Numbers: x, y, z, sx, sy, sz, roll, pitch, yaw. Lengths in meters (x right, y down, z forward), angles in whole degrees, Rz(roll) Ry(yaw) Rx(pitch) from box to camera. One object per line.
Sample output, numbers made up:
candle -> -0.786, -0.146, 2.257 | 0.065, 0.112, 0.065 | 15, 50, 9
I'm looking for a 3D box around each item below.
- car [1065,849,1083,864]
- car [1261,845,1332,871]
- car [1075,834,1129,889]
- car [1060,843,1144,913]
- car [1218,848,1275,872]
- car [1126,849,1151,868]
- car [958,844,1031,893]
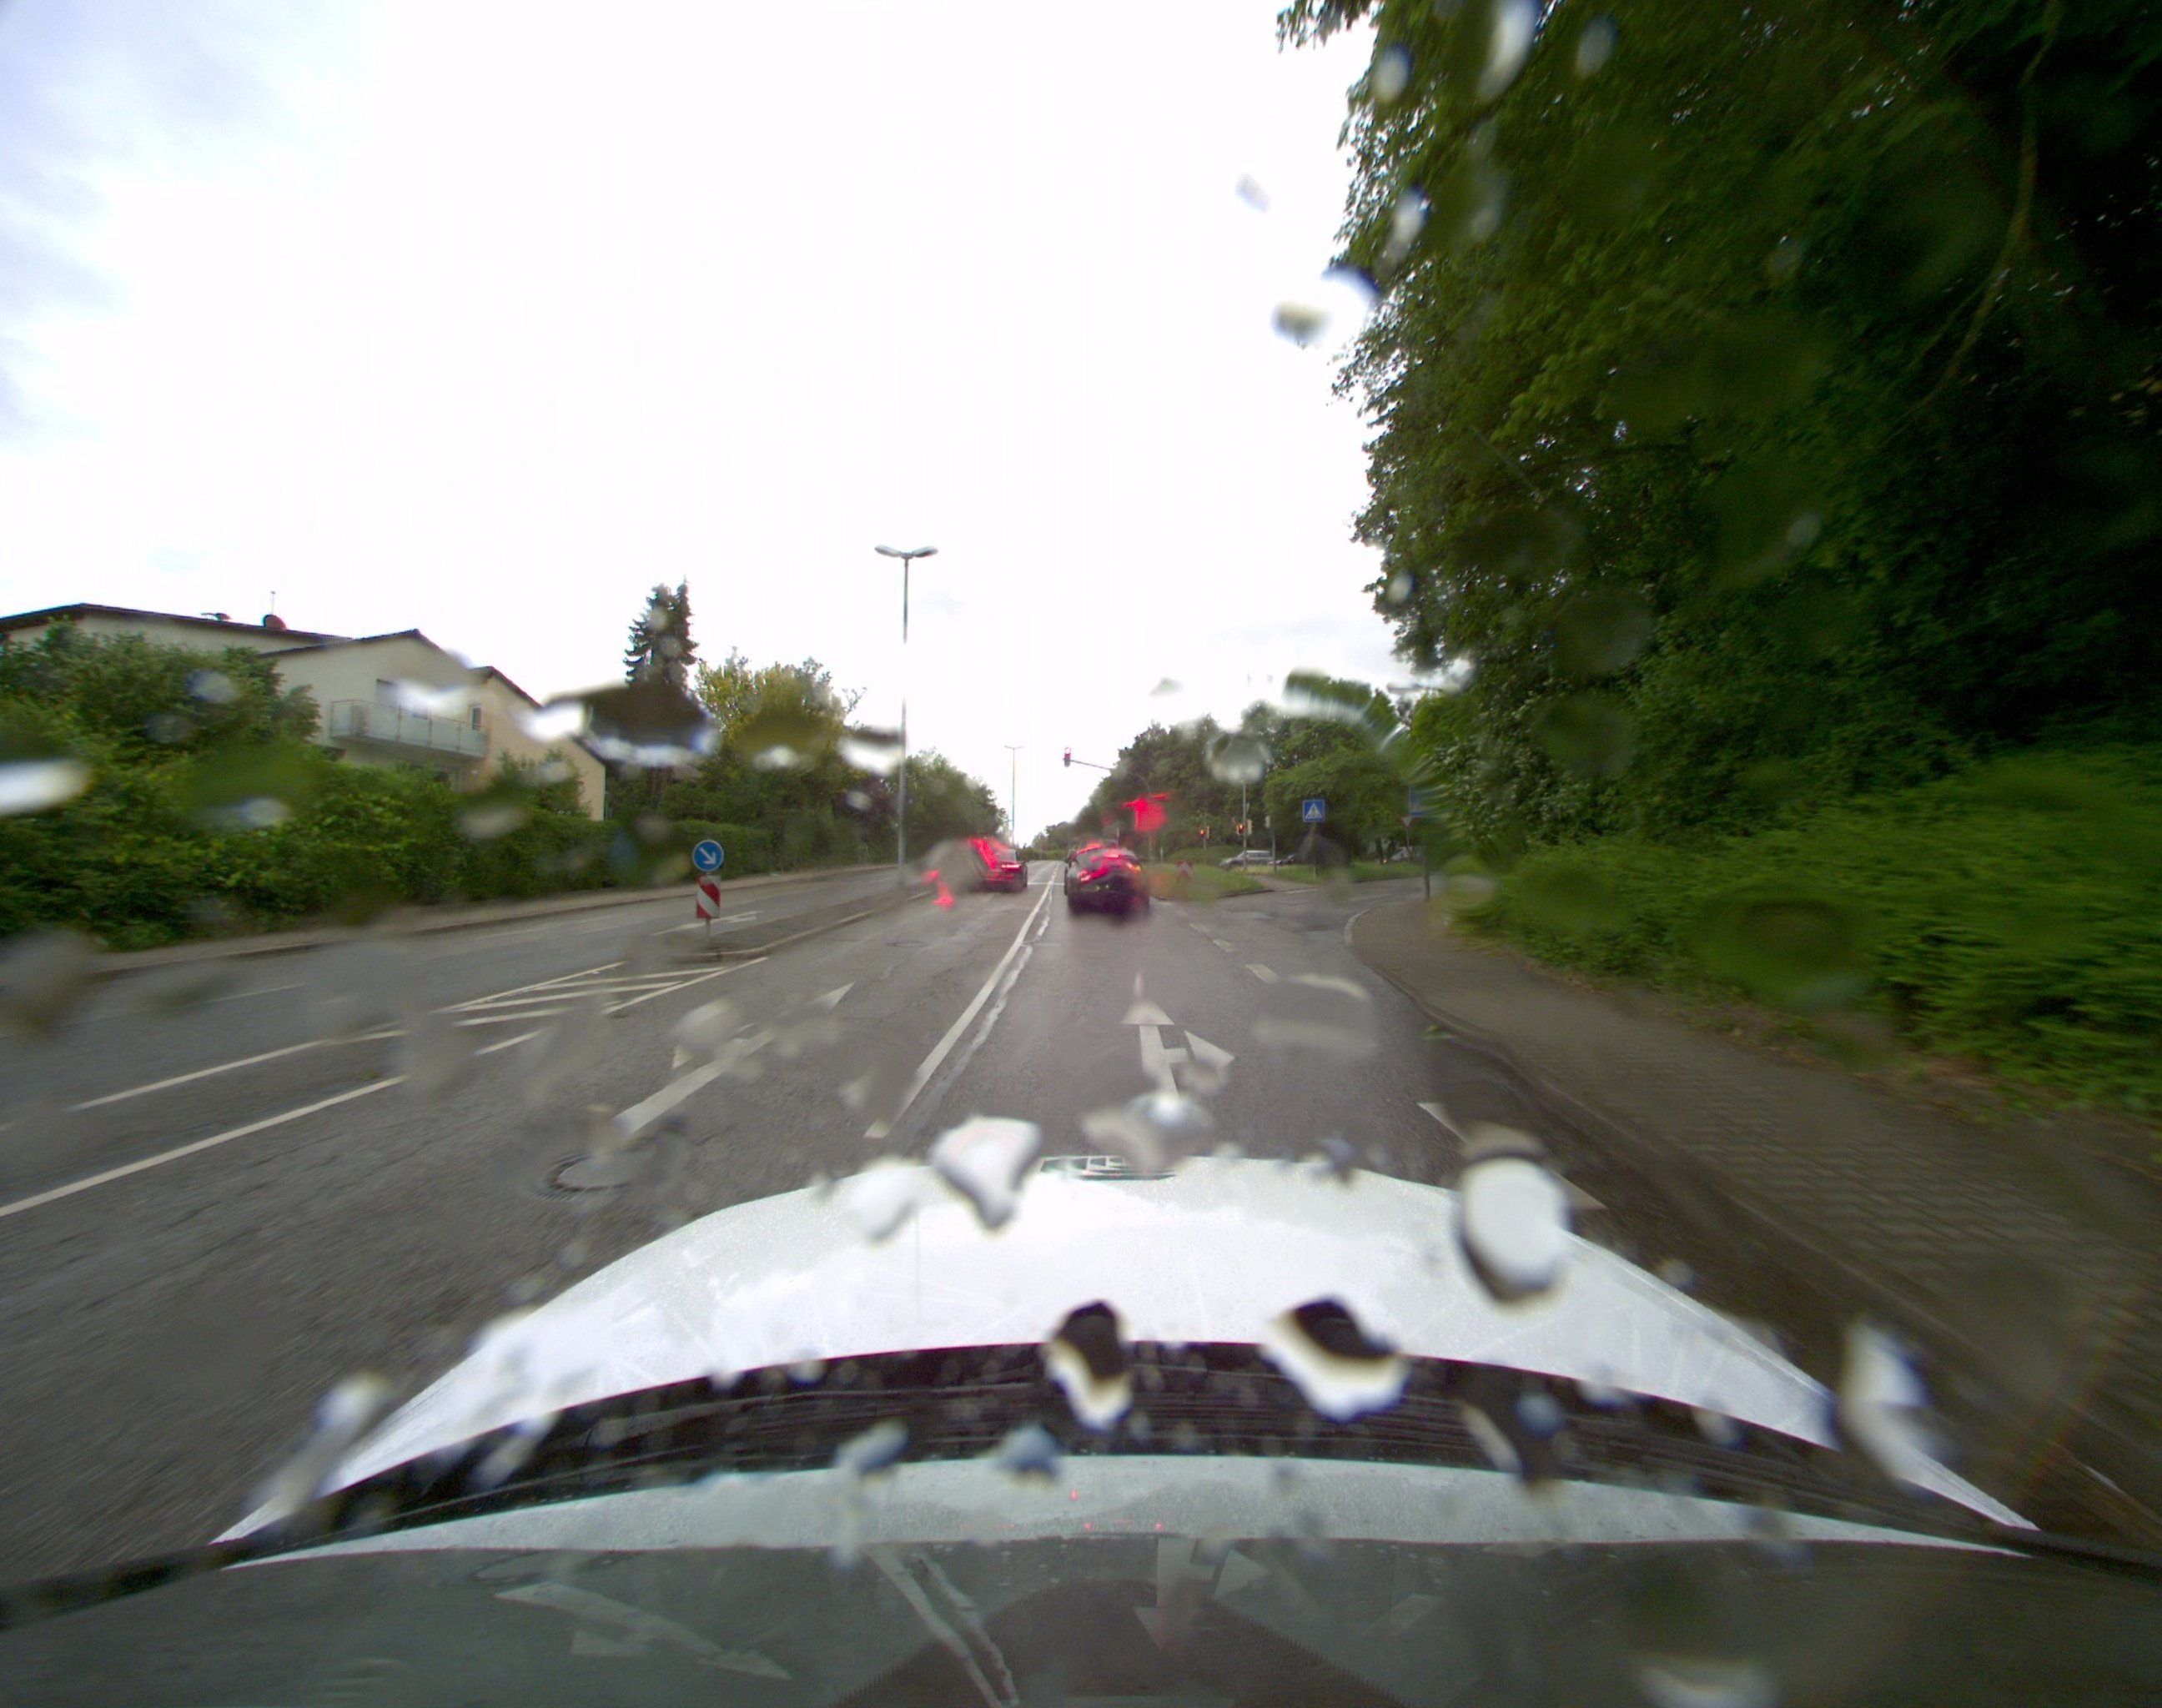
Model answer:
car -> -0.770, 0.284, 93.735 | 1.987, 1.624, 3.952 | -2, 0, 0
car -> 13.891, 0.269, 52.595 | 3.983, 1.509, 1.897 | -1, -3, -7
car -> 0.750, 0.265, 30.025 | 1.812, 1.868, 3.952 | 1, 0, 1
car -> 0.624, 0.573, 20.927 | 1.890, 1.551, 4.619 | 1, -1, 4
car -> 11.359, 0.450, 55.949 | 3.496, 1.427, 1.700 | -2, -3, -5
car -> 4.838, 0.383, 69.114 | 1.867, 1.542, 3.952 | -2, 0, 1
car -> -2.920, 0.468, 28.416 | 1.987, 1.527, 4.328 | -2, 0, 1
